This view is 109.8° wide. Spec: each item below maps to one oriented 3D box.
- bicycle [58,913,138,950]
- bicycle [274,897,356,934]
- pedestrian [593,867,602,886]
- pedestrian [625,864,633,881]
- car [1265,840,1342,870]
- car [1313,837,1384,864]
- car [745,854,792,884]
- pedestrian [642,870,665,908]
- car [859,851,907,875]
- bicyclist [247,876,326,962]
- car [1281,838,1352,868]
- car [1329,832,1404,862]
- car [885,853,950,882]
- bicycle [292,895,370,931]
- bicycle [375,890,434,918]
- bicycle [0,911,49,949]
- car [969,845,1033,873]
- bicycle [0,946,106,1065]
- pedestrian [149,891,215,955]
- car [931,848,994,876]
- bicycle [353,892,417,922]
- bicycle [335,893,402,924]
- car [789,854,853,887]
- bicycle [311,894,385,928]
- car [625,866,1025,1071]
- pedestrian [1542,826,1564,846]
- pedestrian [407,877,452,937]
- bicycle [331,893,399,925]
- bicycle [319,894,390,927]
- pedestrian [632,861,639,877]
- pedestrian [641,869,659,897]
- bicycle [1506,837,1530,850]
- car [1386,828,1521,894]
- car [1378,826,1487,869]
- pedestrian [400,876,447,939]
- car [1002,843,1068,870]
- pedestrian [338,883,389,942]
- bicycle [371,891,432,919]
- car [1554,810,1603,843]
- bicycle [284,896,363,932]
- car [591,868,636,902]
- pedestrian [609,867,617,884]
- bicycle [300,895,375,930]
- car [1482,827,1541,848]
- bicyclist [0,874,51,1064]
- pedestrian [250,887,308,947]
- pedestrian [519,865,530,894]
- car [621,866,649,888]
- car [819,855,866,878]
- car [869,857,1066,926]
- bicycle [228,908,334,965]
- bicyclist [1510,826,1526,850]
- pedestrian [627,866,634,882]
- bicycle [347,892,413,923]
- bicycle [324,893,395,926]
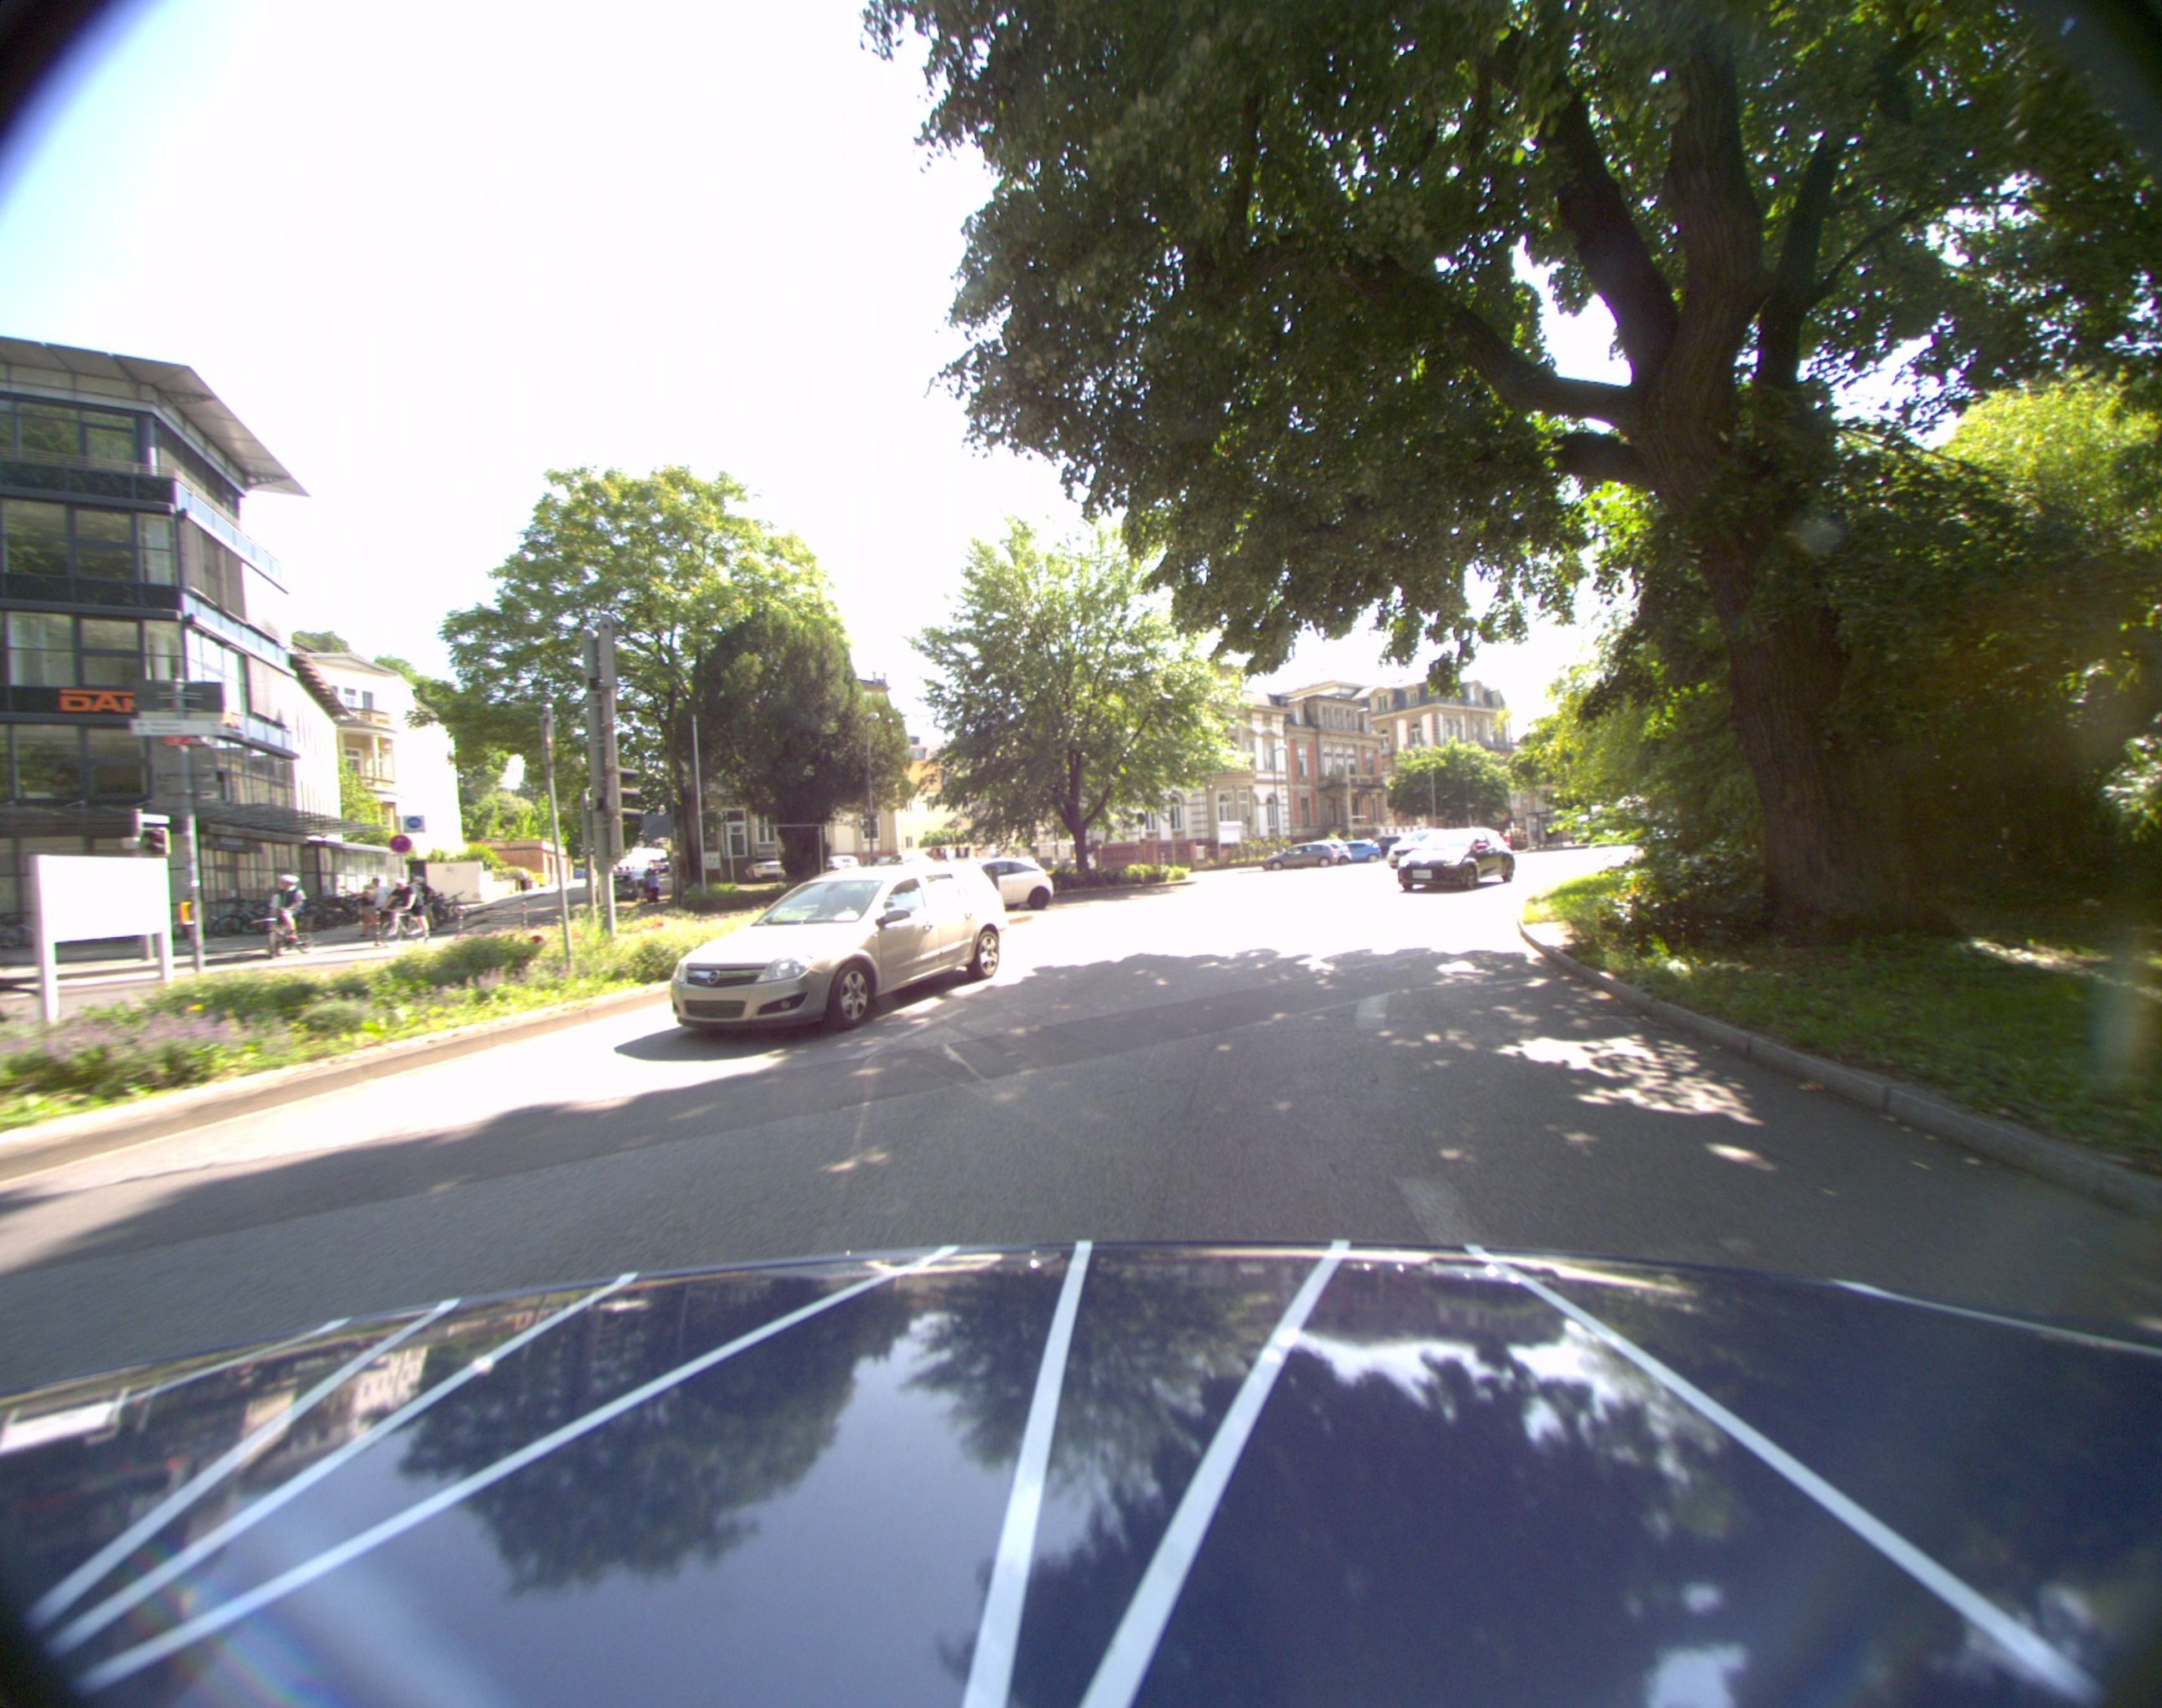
[{"bbox_3d":[-28.971,2.261,22.406,1.343,0.936,0.405,-3,1,-30],"label":"bicycle"},{"bbox_3d":[-26.263,2.083,26.080,1.837,1.079,0.538,-4,1,-28],"label":"bicycle"},{"bbox_3d":[-54.023,2.507,84.817,0.724,2.002,0.859,-3,1,-31],"label":"pedestrian"},{"bbox_3d":[-54.058,2.257,90.816,0.724,2.002,0.859,-3,1,-31],"label":"pedestrian"},{"bbox_3d":[12.694,0.062,43.546,4.100,1.453,1.829,-4,0,14],"label":"car"},{"bbox_3d":[16.663,-0.195,47.490,3.807,1.433,1.714,-4,0,7],"label":"car"},{"bbox_3d":[-18.798,0.905,45.581,1.824,1.594,4.312,-4,1,-32],"label":"car"},{"bbox_3d":[-18.700,1.518,33.228,0.742,1.572,1.121,-4,1,-28],"label":"pedestrian"},{"bbox_3d":[-13.052,0.621,49.921,1.824,1.411,4.053,-4,1,-32],"label":"car"},{"bbox_3d":[-18.834,1.502,18.043,0.748,1.921,1.128,-4,1,-17],"label":"bicyclist"},{"bbox_3d":[14.102,-0.048,45.623,3.806,1.502,1.715,-4,0,10],"label":"car"},{"bbox_3d":[18.721,-0.442,49.986,4.269,1.686,1.714,-4,0,7],"label":"car"},{"bbox_3d":[-8.594,0.700,39.602,1.824,1.328,4.470,-4,1,-32],"label":"car"},{"bbox_3d":[-26.781,2.102,27.169,1.837,1.079,0.538,-4,1,-28],"label":"bicycle"},{"bbox_3d":[-30.101,2.230,33.824,1.837,1.079,0.538,-4,1,-28],"label":"bicycle"},{"bbox_3d":[-30.718,2.185,21.718,1.343,1.007,0.405,-3,1,-30],"label":"bicycle"},{"bbox_3d":[-4.498,0.292,42.128,1.863,1.328,4.044,-4,1,-32],"label":"car"},{"bbox_3d":[-11.340,1.609,7.512,0.756,1.106,2.082,-4,0,-5],"label":"bicycle"},{"bbox_3d":[-24.837,1.887,21.009,0.830,1.653,0.772,-4,0,-20],"label":"pedestrian"},{"bbox_3d":[-6.439,0.431,40.989,1.824,1.328,4.089,-4,1,-32],"label":"car"},{"bbox_3d":[-28.953,2.184,31.632,1.837,1.079,0.538,-4,1,-28],"label":"bicycle"},{"bbox_3d":[-28.531,2.172,30.457,1.837,1.079,0.538,-4,1,-28],"label":"bicycle"},{"bbox_3d":[-12.895,0.819,37.505,1.881,1.467,4.146,-4,1,-35],"label":"car"},{"bbox_3d":[-27.263,2.119,28.292,1.837,1.079,0.538,-4,1,-28],"label":"bicycle"},{"bbox_3d":[-2.398,0.989,8.530,1.716,1.491,4.496,-2,1,21],"label":"car"},{"bbox_3d":[30.288,-1.149,48.747,1.019,1.190,0.793,-4,0,39],"label":"pedestrian"},{"bbox_3d":[-20.815,1.678,24.291,0.830,1.843,0.772,-4,0,-24],"label":"pedestrian"},{"bbox_3d":[-28.214,2.158,29.968,1.837,1.079,0.538,-4,1,-28],"label":"bicycle"},{"bbox_3d":[-27.592,2.132,28.887,1.837,1.079,0.538,-4,1,-28],"label":"bicycle"},{"bbox_3d":[-59.869,2.008,102.185,0.724,2.002,0.859,-3,1,-31],"label":"pedestrian"},{"bbox_3d":[-24.544,1.629,43.264,0.771,1.537,0.665,-3,1,-28],"label":"pedestrian"},{"bbox_3d":[30.017,-0.721,52.182,1.747,0.850,0.592,-4,0,-30],"label":"bicycle"},{"bbox_3d":[9.871,0.142,19.972,4.288,1.443,1.787,-4,2,-44],"label":"car"},{"bbox_3d":[14.594,-0.276,31.480,4.285,1.504,1.788,-3,1,-27],"label":"car"},{"bbox_3d":[-20.389,1.644,23.572,0.830,1.843,0.772,-4,0,-25],"label":"pedestrian"},{"bbox_3d":[-2.675,0.159,43.392,1.994,1.328,4.044,-4,1,-32],"label":"car"},{"bbox_3d":[-21.333,1.717,22.605,0.830,1.653,0.772,-4,0,-25],"label":"pedestrian"},{"bbox_3d":[-29.771,2.215,33.318,1.837,1.079,0.538,-4,1,-28],"label":"bicycle"},{"bbox_3d":[42.569,-2.362,64.988,5.327,2.588,1.995,-3,0,-41],"label":"car"},{"bbox_3d":[-26.486,2.090,26.596,1.837,1.079,0.538,-4,1,-28],"label":"bicycle"},{"bbox_3d":[-25.448,1.647,41.472,1.836,1.637,4.124,-3,1,-29],"label":"car"},{"bbox_3d":[-55.875,2.549,90.764,0.724,2.002,1.016,-3,1,-31],"label":"pedestrian"},{"bbox_3d":[-27.067,2.114,27.692,1.837,1.079,0.538,-4,1,-28],"label":"bicycle"},{"bbox_3d":[34.451,-1.294,60.839,3.694,1.410,1.751,-4,0,14],"label":"car"},{"bbox_3d":[-11.368,1.197,7.489,0.748,1.921,1.129,-4,1,-5],"label":"bicyclist"},{"bbox_3d":[-23.605,1.827,22.379,0.830,1.653,0.772,-4,0,-20],"label":"pedestrian"},{"bbox_3d":[-40.049,1.823,54.686,0.494,2.002,0.578,-4,1,-35],"label":"pedestrian"},{"bbox_3d":[-36.238,1.829,61.780,1.836,1.637,4.124,-3,1,-29],"label":"car"},{"bbox_3d":[-15.369,0.824,48.814,1.824,1.328,4.080,-4,1,-32],"label":"car"},{"bbox_3d":[-2.971,0.929,20.381,4.759,1.429,1.995,-3,1,-34],"label":"car"},{"bbox_3d":[-18.760,1.906,17.888,0.757,1.106,2.080,-4,0,-18],"label":"bicycle"},{"bbox_3d":[30.029,-1.079,52.191,0.685,1.597,0.592,-4,0,-30],"label":"bicyclist"},{"bbox_3d":[-57.543,2.576,97.051,0.724,2.002,0.859,-3,1,-31],"label":"pedestrian"},{"bbox_3d":[-28.639,2.171,31.065,1.837,1.079,0.538,-4,1,-28],"label":"bicycle"},{"bbox_3d":[-27.893,2.145,29.405,1.837,1.079,0.538,-4,1,-28],"label":"bicycle"}]
